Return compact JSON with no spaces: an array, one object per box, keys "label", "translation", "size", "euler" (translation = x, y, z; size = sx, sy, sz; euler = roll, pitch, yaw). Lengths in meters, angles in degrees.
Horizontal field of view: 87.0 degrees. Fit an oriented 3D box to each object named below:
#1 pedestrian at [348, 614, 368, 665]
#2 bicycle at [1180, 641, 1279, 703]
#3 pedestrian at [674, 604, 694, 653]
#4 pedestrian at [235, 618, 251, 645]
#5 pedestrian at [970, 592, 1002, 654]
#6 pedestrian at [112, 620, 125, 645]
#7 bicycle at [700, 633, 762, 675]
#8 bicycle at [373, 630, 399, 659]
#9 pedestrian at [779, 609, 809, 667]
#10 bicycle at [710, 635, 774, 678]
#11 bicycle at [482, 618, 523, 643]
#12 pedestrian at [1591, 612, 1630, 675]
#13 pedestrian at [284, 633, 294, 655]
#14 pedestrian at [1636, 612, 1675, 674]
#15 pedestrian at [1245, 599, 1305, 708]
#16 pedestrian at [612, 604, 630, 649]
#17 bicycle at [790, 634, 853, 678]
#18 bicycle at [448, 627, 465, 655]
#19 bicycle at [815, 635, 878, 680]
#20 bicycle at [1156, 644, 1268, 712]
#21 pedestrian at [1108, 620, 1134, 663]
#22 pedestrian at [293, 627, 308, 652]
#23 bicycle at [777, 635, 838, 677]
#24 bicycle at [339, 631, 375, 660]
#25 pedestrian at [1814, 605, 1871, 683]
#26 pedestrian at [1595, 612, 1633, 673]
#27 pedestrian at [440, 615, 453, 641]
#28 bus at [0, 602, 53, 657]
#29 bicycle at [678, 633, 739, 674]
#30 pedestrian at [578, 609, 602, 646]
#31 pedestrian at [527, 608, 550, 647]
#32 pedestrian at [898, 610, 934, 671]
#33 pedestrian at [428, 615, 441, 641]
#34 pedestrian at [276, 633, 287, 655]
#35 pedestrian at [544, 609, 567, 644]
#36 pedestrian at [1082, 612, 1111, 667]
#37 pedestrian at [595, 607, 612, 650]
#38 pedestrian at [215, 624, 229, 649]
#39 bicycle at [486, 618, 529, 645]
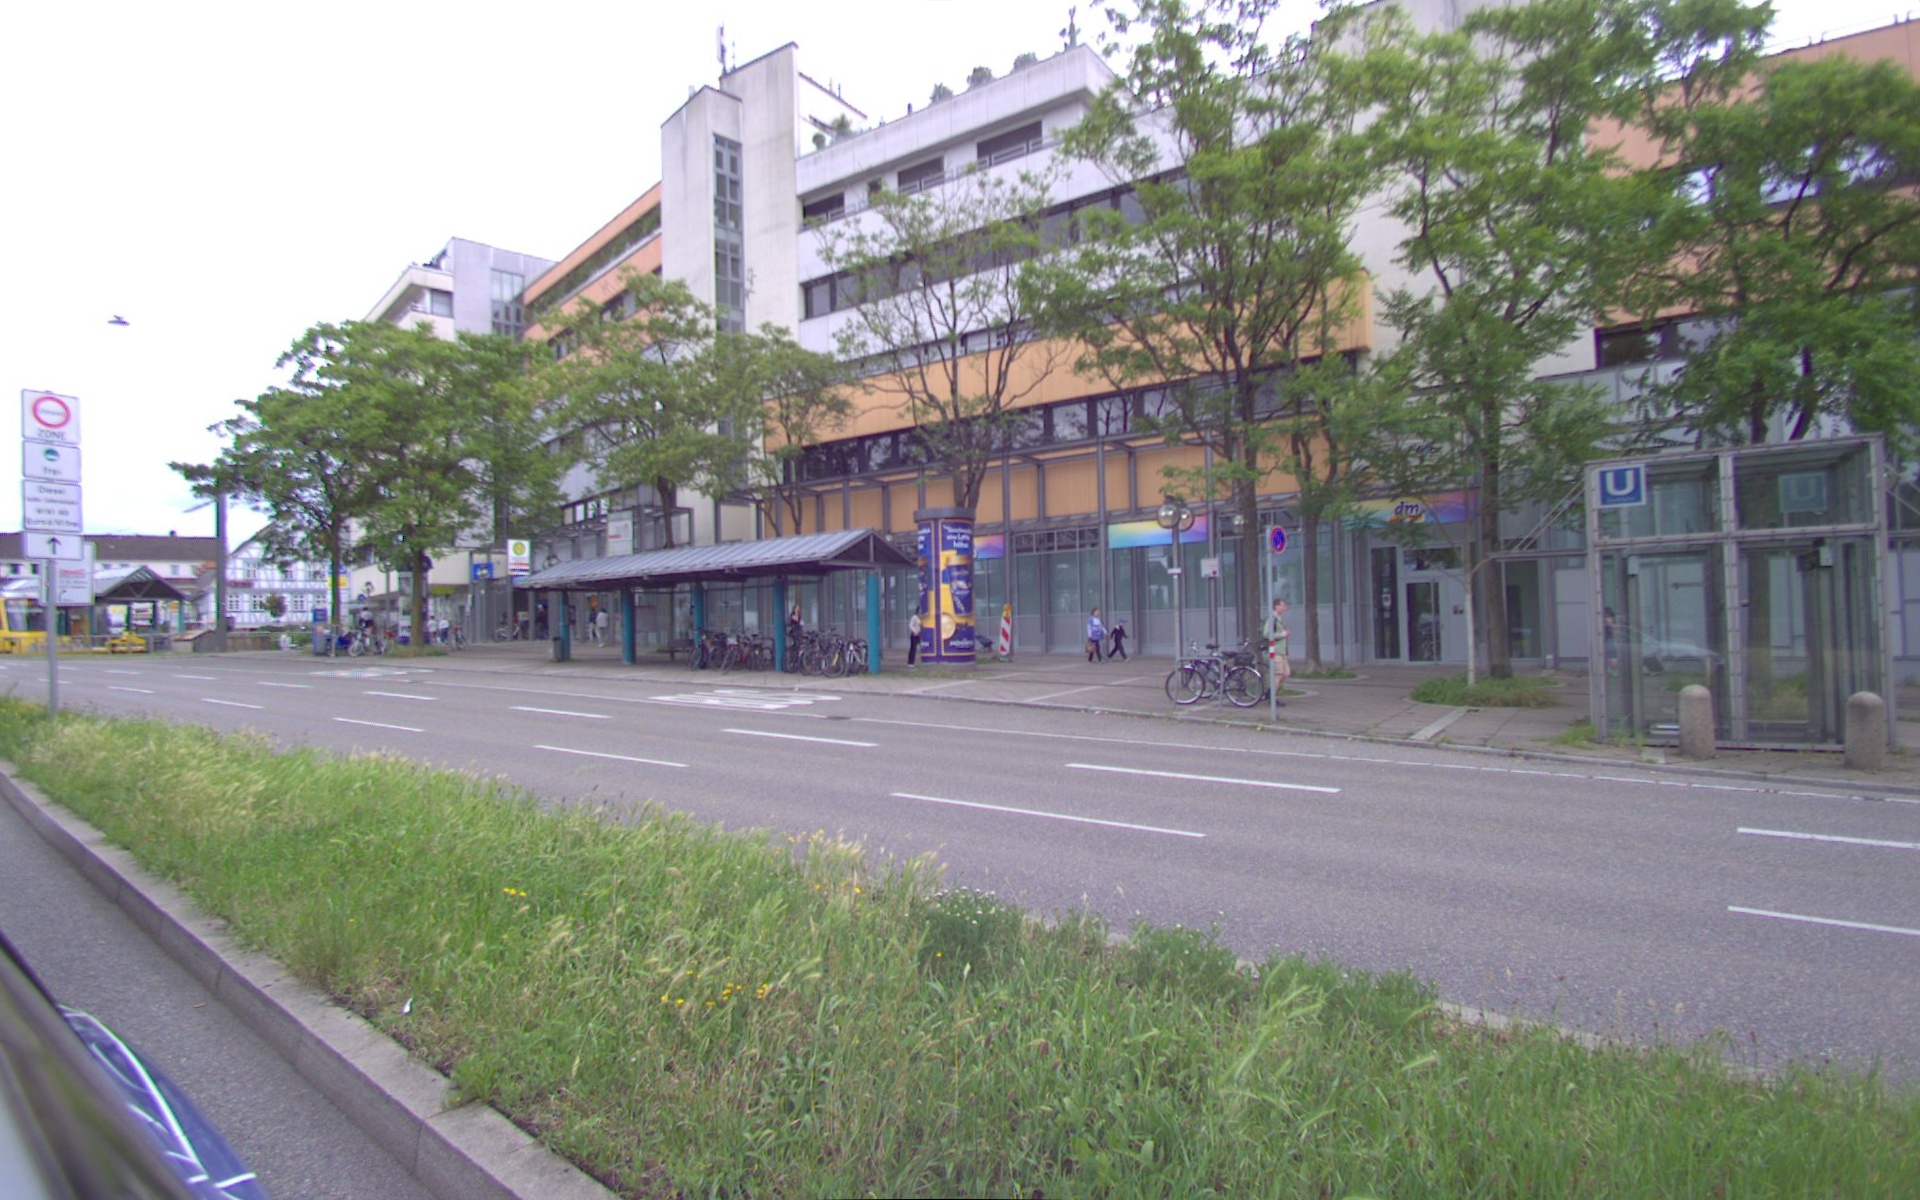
[{"label":"pedestrian","translation":[-27.742,1.828,46.639],"size":[0.608,2.325,0.583],"euler":[-1,-2,39]},{"label":"bicycle","translation":[4.983,1.310,18.792],"size":[1.737,1.074,0.542],"euler":[-2,-1,45]},{"label":"pedestrian","translation":[-11.603,1.196,42.537],"size":[0.558,2.029,0.611],"euler":[1,-2,-44]},{"label":"pedestrian","translation":[-54.022,2.358,76.244],"size":[0.867,2.029,1.010],"euler":[1,-2,-44]},{"label":"pedestrian","translation":[0.861,0.752,33.308],"size":[0.791,2.029,0.703],"euler":[-1,0,31]},{"label":"pedestrian","translation":[-67.290,2.587,80.913],"size":[0.731,2.029,0.940],"euler":[1,-2,-39]},{"label":"bicycle","translation":[-6.456,1.509,28.586],"size":[0.549,1.048,1.714],"euler":[-2,1,38]},{"label":"bicycle","translation":[-22.748,1.751,40.111],"size":[0.584,1.085,2.044],"euler":[0,-1,-21]},{"label":"pedestrian","translation":[-5.259,1.188,32.062],"size":[0.769,1.800,0.525],"euler":[-1,-2,33]},{"label":"bicycle","translation":[-5.961,1.527,27.724],"size":[0.549,1.048,1.714],"euler":[-2,1,38]},{"label":"bicycle","translation":[-26.099,1.733,57.768],"size":[2.106,1.377,0.621],"euler":[-1,0,-24]},{"label":"pedestrian","translation":[14.660,0.972,22.805],"size":[0.694,1.385,0.578],"euler":[-1,-2,34]},{"label":"pedestrian","translation":[-36.168,2.374,54.550],"size":[0.368,1.188,0.338],"euler":[-1,-2,31]},{"label":"pedestrian","translation":[15.708,0.958,22.864],"size":[0.694,1.385,0.578],"euler":[-1,-2,34]},{"label":"pedestrian","translation":[5.445,0.913,17.510],"size":[0.916,1.846,0.533],"euler":[-1,-2,25]},{"label":"pedestrian","translation":[-15.243,1.182,45.502],"size":[0.558,2.029,0.611],"euler":[1,-2,-44]},{"label":"bicycle","translation":[-3.615,1.455,26.595],"size":[0.549,1.048,1.714],"euler":[-2,0,38]},{"label":"bicycle","translation":[-21.353,1.705,42.931],"size":[0.584,1.134,2.044],"euler":[1,-1,-26]},{"label":"bicycle","translation":[-2.905,1.471,26.062],"size":[0.549,1.048,1.714],"euler":[-2,0,38]},{"label":"bicycle","translation":[4.367,1.321,17.600],"size":[0.802,1.068,1.739],"euler":[0,-1,-40]},{"label":"pedestrian","translation":[4.596,1.176,28.822],"size":[0.620,1.190,0.418],"euler":[-1,-2,31]},{"label":"pedestrian","translation":[-41.778,2.519,64.084],"size":[0.581,1.554,0.570],"euler":[-1,-2,32]},{"label":"bicycle","translation":[-4.139,1.512,27.562],"size":[0.549,1.048,1.714],"euler":[-2,-1,38]},{"label":"bicycle","translation":[-23.615,1.764,39.653],"size":[0.585,1.085,2.042],"euler":[0,-1,-12]},{"label":"pedestrian","translation":[17.262,0.860,19.803],"size":[0.754,1.491,0.524],"euler":[-1,-2,36]},{"label":"pedestrian","translation":[15.136,0.966,23.420],"size":[0.694,1.385,0.578],"euler":[-1,-2,34]},{"label":"pedestrian","translation":[-29.830,1.627,58.771],"size":[0.548,1.506,0.454],"euler":[1,-2,-41]},{"label":"bus","translation":[-55.984,1.683,58.616],"size":[8.470,3.006,2.530],"euler":[-1,-2,29]},{"label":"bicycle","translation":[-7.235,1.532,29.151],"size":[0.549,1.048,1.714],"euler":[-2,0,38]},{"label":"pedestrian","translation":[-17.171,1.262,47.003],"size":[0.752,1.695,0.755],"euler":[-1,-2,41]},{"label":"pedestrian","translation":[-20.094,1.307,48.259],"size":[0.752,1.859,0.755],"euler":[-1,-2,41]},{"label":"pedestrian","translation":[-1.229,1.115,27.979],"size":[0.721,1.662,0.669],"euler":[-1,-1,37]},{"label":"pedestrian","translation":[-30.449,1.640,58.625],"size":[0.548,1.506,0.454],"euler":[1,-2,-41]},{"label":"pedestrian","translation":[-36.349,2.357,54.198],"size":[0.368,1.188,0.338],"euler":[-1,-2,31]},{"label":"pedestrian","translation":[-19.660,1.297,49.156],"size":[0.752,1.695,0.755],"euler":[-1,-2,41]},{"label":"pedestrian","translation":[3.815,1.098,28.312],"size":[0.620,1.515,0.563],"euler":[-1,-2,31]},{"label":"pedestrian","translation":[-15.475,1.240,43.908],"size":[0.639,1.823,0.761],"euler":[0,-2,-16]},{"label":"pedestrian","translation":[-47.289,2.332,64.857],"size":[0.581,1.554,0.570],"euler":[-1,-2,32]},{"label":"bicycle","translation":[-24.950,1.723,55.789],"size":[2.107,1.385,0.621],"euler":[-1,0,-31]}]
